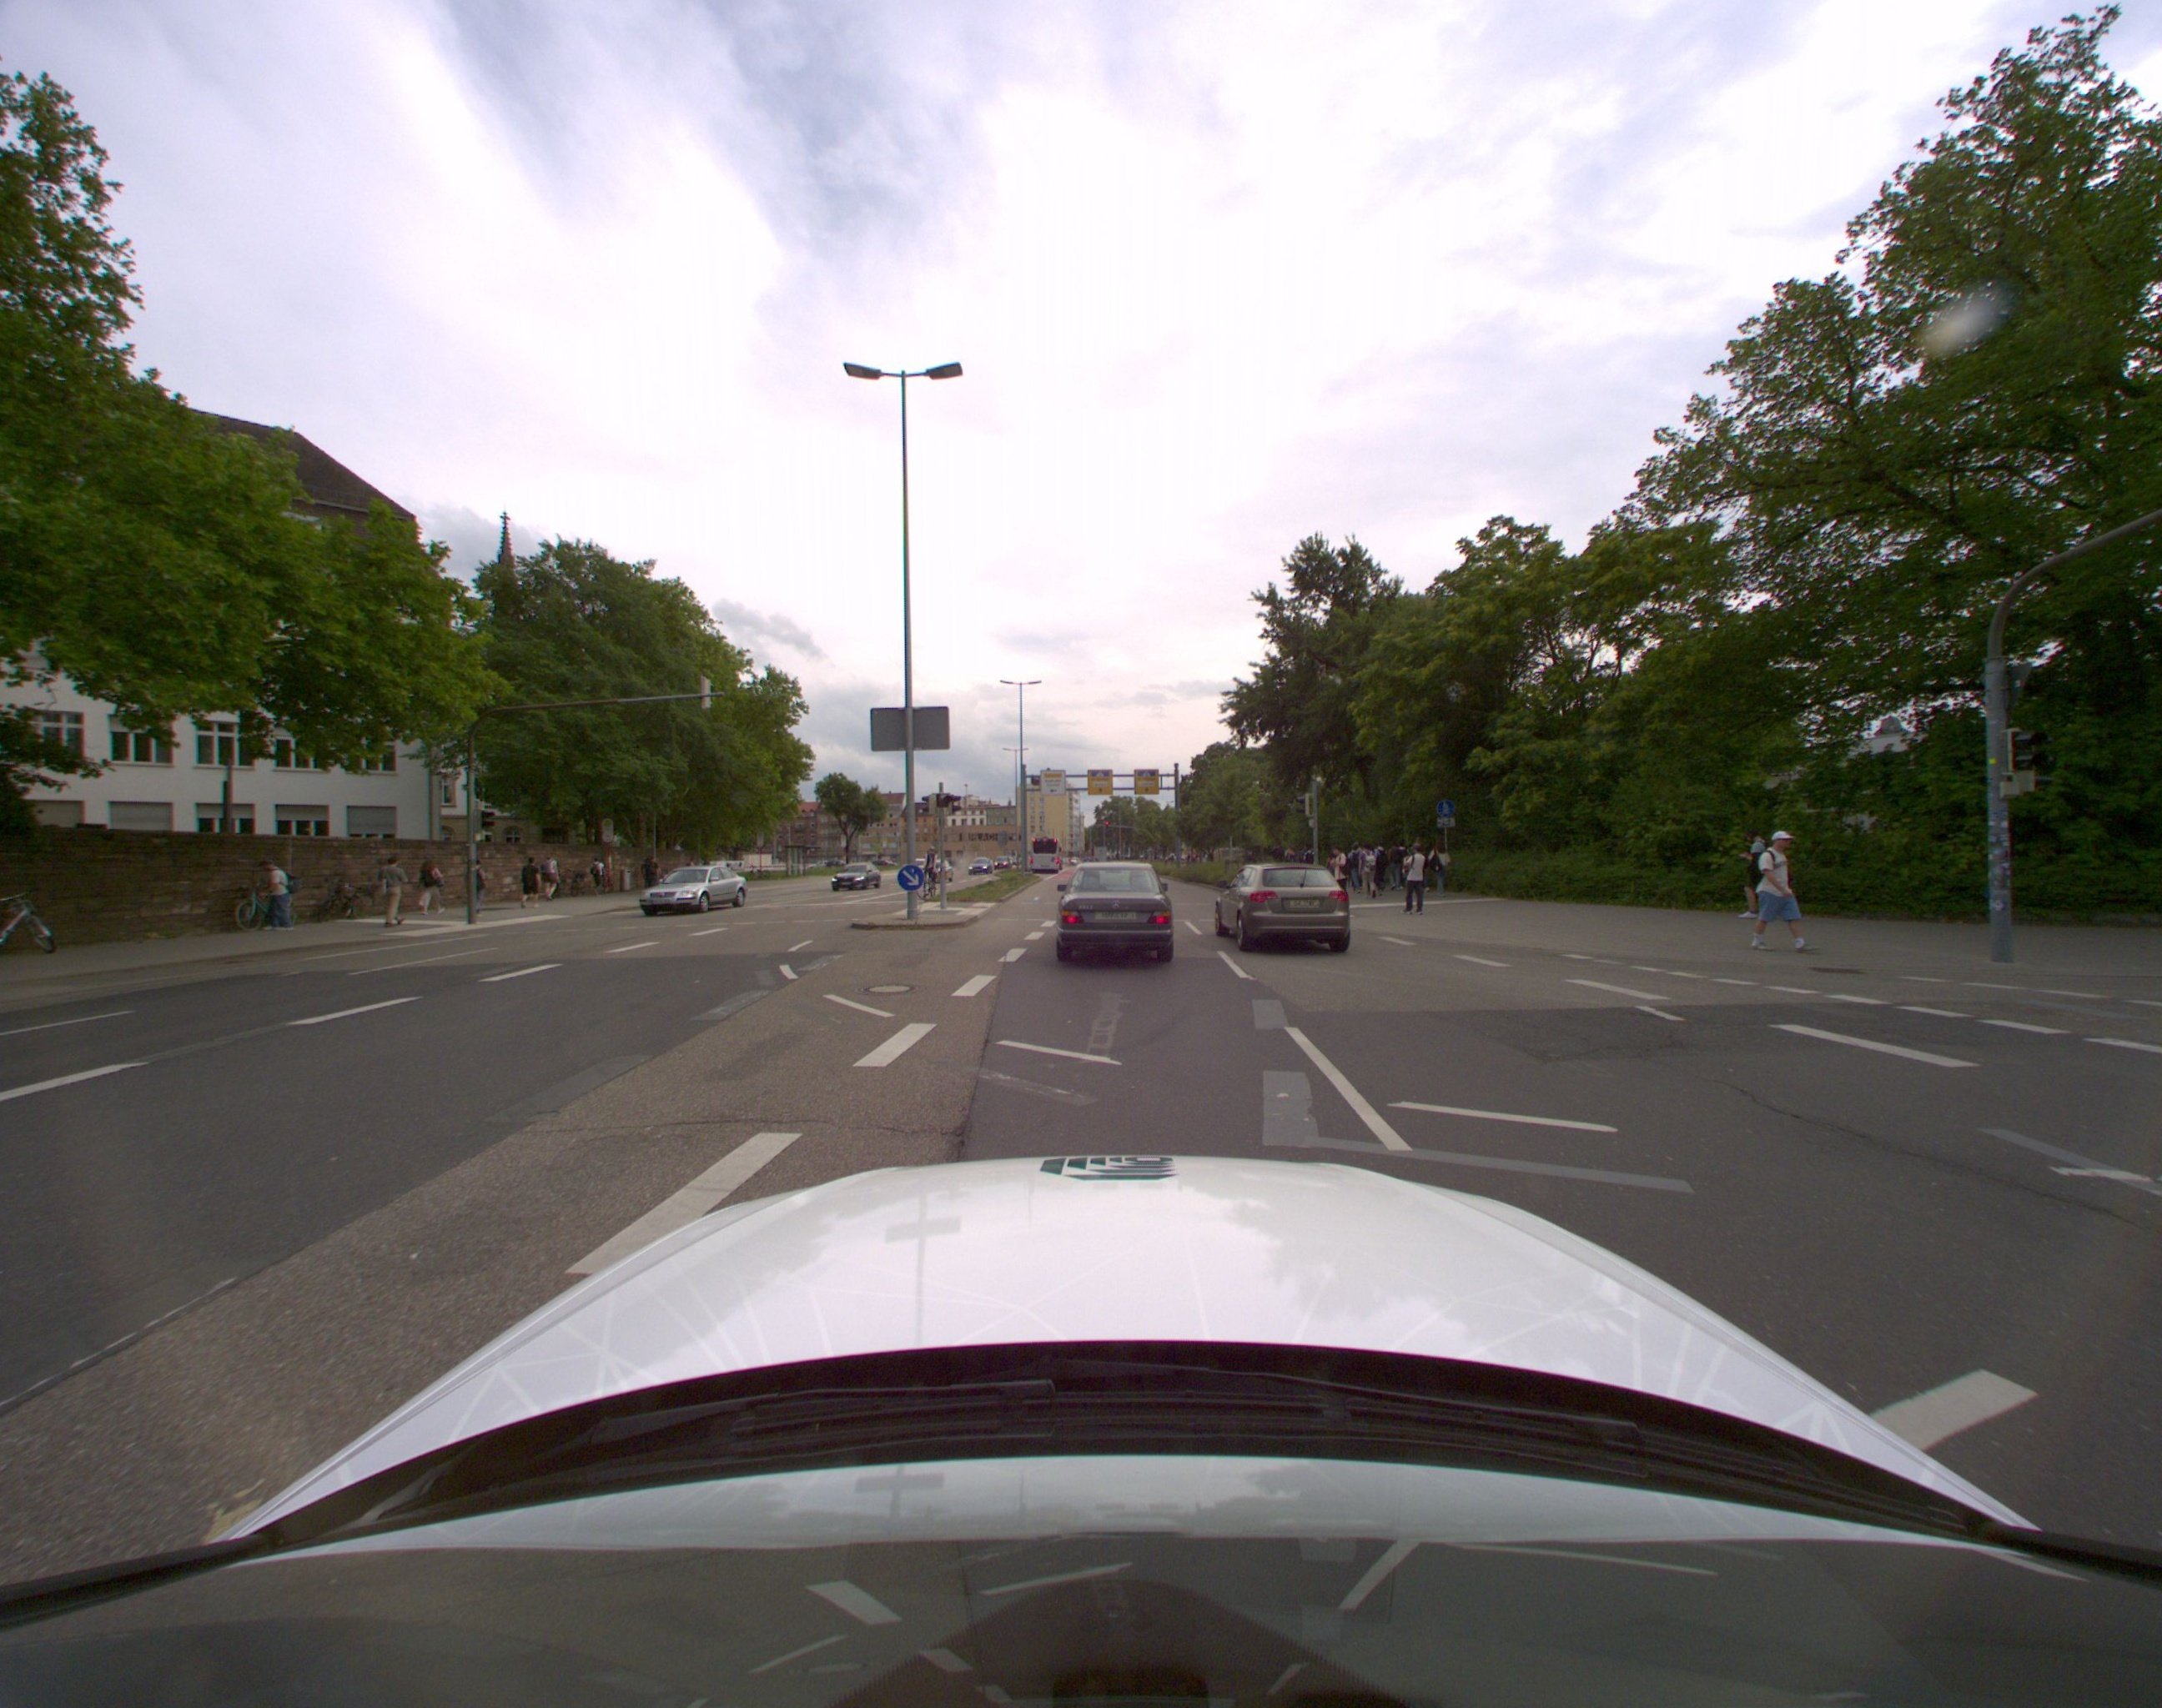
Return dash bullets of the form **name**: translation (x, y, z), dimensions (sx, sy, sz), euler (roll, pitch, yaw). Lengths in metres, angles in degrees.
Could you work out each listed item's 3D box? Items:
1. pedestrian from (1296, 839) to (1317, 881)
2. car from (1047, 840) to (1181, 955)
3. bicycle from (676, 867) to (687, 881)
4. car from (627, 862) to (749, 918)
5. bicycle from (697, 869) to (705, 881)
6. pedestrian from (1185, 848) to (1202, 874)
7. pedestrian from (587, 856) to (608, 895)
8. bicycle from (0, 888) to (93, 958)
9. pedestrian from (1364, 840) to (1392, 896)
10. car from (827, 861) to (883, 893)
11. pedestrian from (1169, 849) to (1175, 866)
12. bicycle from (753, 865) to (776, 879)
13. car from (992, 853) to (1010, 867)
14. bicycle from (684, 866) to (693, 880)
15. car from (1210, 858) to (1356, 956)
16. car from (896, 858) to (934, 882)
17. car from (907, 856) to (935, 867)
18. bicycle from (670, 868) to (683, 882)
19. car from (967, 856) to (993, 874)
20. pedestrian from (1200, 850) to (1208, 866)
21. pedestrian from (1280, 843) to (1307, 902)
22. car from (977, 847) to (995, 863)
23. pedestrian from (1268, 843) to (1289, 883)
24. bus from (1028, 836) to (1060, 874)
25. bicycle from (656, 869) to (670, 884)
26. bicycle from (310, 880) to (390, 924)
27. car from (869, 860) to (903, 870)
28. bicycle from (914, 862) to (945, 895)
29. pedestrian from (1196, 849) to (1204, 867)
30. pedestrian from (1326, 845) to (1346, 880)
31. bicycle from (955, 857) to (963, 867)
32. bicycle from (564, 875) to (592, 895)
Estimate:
- **pedestrian**: translation (9.943, 0.256, 35.943), dimensions (0.654, 1.821, 0.812), euler (-1, 0, 0)
- **car**: translation (0.494, 0.566, 12.832), dimensions (1.755, 1.489, 4.172), euler (-1, 0, 1)
- **bicycle**: translation (-26.538, 1.306, 54.092), dimensions (0.417, 0.878, 1.546), euler (2, -1, -17)
- **car**: translation (-12.049, 1.047, 25.329), dimensions (1.757, 1.489, 4.541), euler (-1, 0, -3)
- **bicycle**: translation (-29.636, 1.615, 63.533), dimensions (0.483, 0.907, 1.608), euler (-1, 0, -23)
- **pedestrian**: translation (8.247, 0.507, 59.822), dimensions (0.925, 1.830, 0.892), euler (-1, 0, 27)
- **pedestrian**: translation (-21.105, 0.929, 35.565), dimensions (0.763, 1.671, 0.915), euler (0, -1, -29)
- **bicycle**: translation (-18.823, 1.211, 14.219), dimensions (0.576, 1.126, 2.161), euler (2, 0, -5)
- **pedestrian**: translation (9.598, 0.447, 26.351), dimensions (0.579, 1.745, 0.789), euler (-1, 0, -2)
- **car**: translation (-12.554, 1.214, 45.545), dimensions (1.892, 1.616, 4.740), euler (-1, 0, -2)
- **pedestrian**: translation (10.511, 0.429, 94.108), dimensions (0.612, 2.013, 0.597), euler (0, 0, -2)
- **bicycle**: translation (-22.885, 1.282, 58.962), dimensions (0.467, 0.918, 2.344), euler (-1, 0, 8)
- **car**: translation (-9.033, 0.705, 92.602), dimensions (1.566, 1.489, 3.637), euler (-2, 0, 1)
- **bicycle**: translation (-27.110, 1.306, 56.247), dimensions (0.347, 0.878, 1.513), euler (2, -1, -17)
- **car**: translation (3.394, 0.824, 14.378), dimensions (1.718, 1.457, 3.737), euler (-1, 0, 1)
- **car**: translation (-12.082, 1.162, 59.521), dimensions (1.858, 1.652, 4.421), euler (-1, 0, 0)
- **car**: translation (-23.855, 1.134, 121.313), dimensions (3.850, 1.517, 1.657), euler (0, 0, -6)
- **bicycle**: translation (-25.808, 1.340, 51.946), dimensions (0.442, 0.827, 1.611), euler (2, -1, -17)
- **car**: translation (-9.020, 0.990, 72.971), dimensions (1.796, 1.511, 4.102), euler (-1, -1, -1)
- **pedestrian**: translation (11.523, 0.396, 76.549), dimensions (0.652, 1.470, 0.564), euler (-1, 0, 16)
- **pedestrian**: translation (6.357, 0.541, 24.375), dimensions (0.600, 1.735, 0.654), euler (-1, 0, -3)
- **car**: translation (-12.496, 0.145, 107.115), dimensions (1.936, 2.013, 3.998), euler (-1, 0, -1)
- **pedestrian**: translation (9.198, 0.420, 37.981), dimensions (0.690, 1.821, 0.954), euler (-1, 0, 0)
- **bus**: translation (-3.382, 0.065, 76.097), dimensions (2.824, 3.390, 8.176), euler (-1, 0, -2)
- **bicycle**: translation (-24.724, 1.324, 48.214), dimensions (0.442, 0.827, 1.611), euler (2, -1, -17)
- **bicycle**: translation (-19.926, 1.298, 22.268), dimensions (0.548, 1.058, 1.976), euler (2, 0, -7)
- **car**: translation (-28.856, 1.592, 120.636), dimensions (4.662, 1.476, 1.657), euler (1, -1, -6)
- **bicycle**: translation (-5.152, 0.830, 27.866), dimensions (0.571, 1.055, 1.928), euler (-1, 0, 4)
- **pedestrian**: translation (11.815, 0.409, 80.989), dimensions (0.641, 1.713, 0.564), euler (-1, 0, 14)
- **pedestrian**: translation (11.469, 0.380, 36.664), dimensions (0.633, 1.584, 0.785), euler (-1, 0, 0)
- **bicycle**: translation (-14.438, 0.973, 96.347), dimensions (0.579, 1.170, 1.964), euler (-1, 0, 1)
- **bicycle**: translation (-22.154, 1.358, 35.867), dimensions (0.441, 0.797, 1.615), euler (1, 1, -9)
